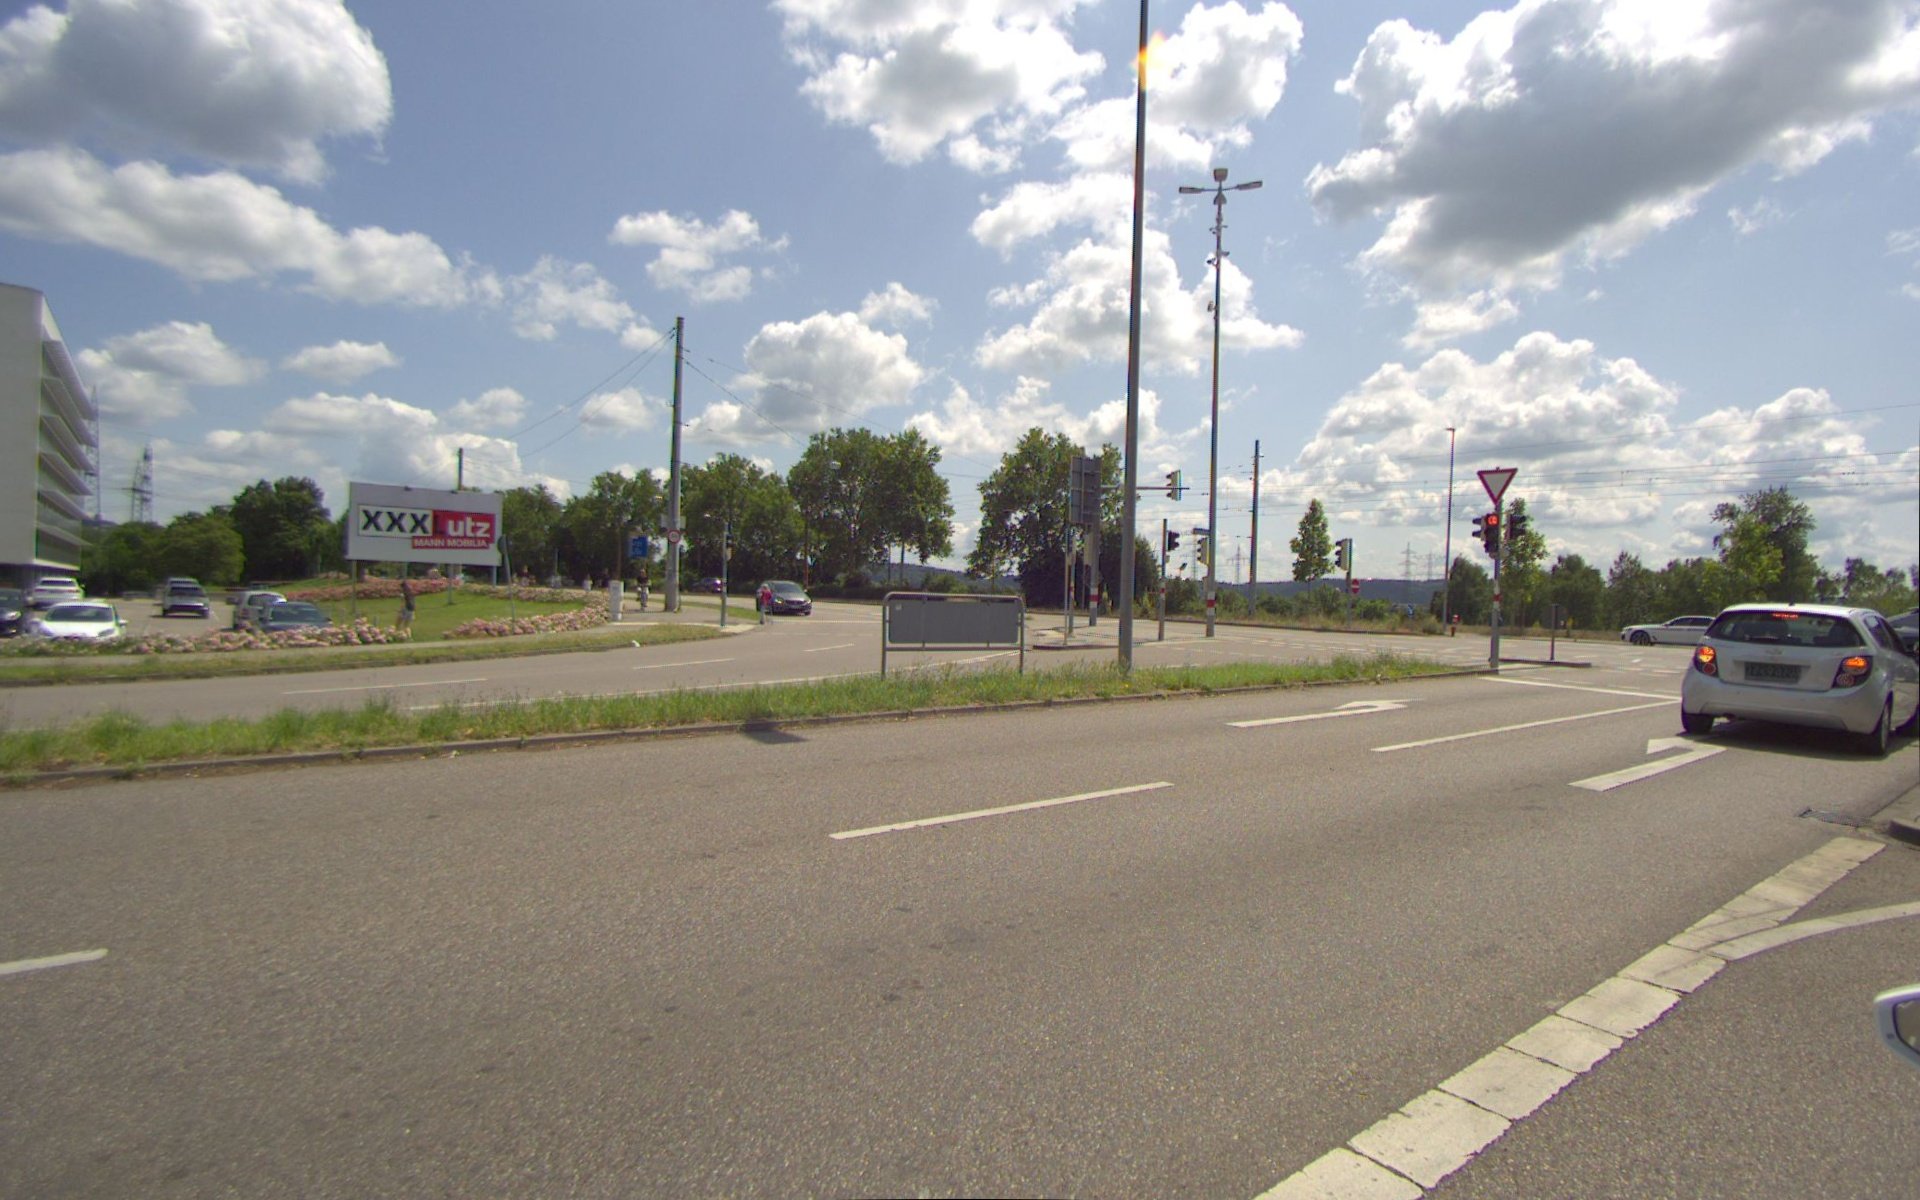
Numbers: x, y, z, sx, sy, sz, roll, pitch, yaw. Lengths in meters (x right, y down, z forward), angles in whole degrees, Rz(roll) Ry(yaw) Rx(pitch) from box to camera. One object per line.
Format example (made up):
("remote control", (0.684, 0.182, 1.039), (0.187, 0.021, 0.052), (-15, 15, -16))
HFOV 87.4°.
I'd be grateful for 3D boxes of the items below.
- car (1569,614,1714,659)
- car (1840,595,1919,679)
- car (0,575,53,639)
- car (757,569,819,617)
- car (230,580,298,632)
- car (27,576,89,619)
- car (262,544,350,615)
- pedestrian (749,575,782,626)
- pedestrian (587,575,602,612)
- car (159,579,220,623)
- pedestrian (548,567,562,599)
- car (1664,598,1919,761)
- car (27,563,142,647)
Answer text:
("car", (30.687, 1.596, 45.360), (1.983, 1.832, 5.076), (2, -1, -39))
("car", (21.041, 0.838, 20.414), (1.888, 1.697, 4.468), (2, 1, -39))
("car", (-31.329, 0.200, 32.982), (1.983, 2.015, 4.313), (2, -1, -39))
("car", (-7.851, -0.302, 45.613), (1.971, 2.040, 3.979), (1, 0, -22))
("car", (-28.746, 0.247, 41.424), (1.983, 2.015, 4.313), (2, -1, -39))
("car", (-44.040, -0.122, 49.107), (1.983, 2.015, 4.313), (2, -1, -39))
("car", (-20.623, -0.611, 31.627), (1.982, 2.040, 3.956), (2, -1, -38))
("pedestrian", (-7.396, 0.015, 38.202), (0.783, 1.862, 0.867), (4, 2, 23))
("pedestrian", (-18.335, -0.341, 50.388), (0.589, 1.835, 0.531), (1, 0, -28))
("car", (-37.331, 0.058, 48.632), (2.231, 2.015, 4.313), (2, -1, -39))
("pedestrian", (-26.560, -1.108, 65.893), (0.762, 2.040, 0.565), (1, 0, -18))
("car", (9.893, 0.793, 11.575), (3.800, 1.489, 1.879), (1, 2, -39))
("car", (-23.237, 0.134, 26.809), (1.982, 2.040, 3.957), (2, -1, -37))
